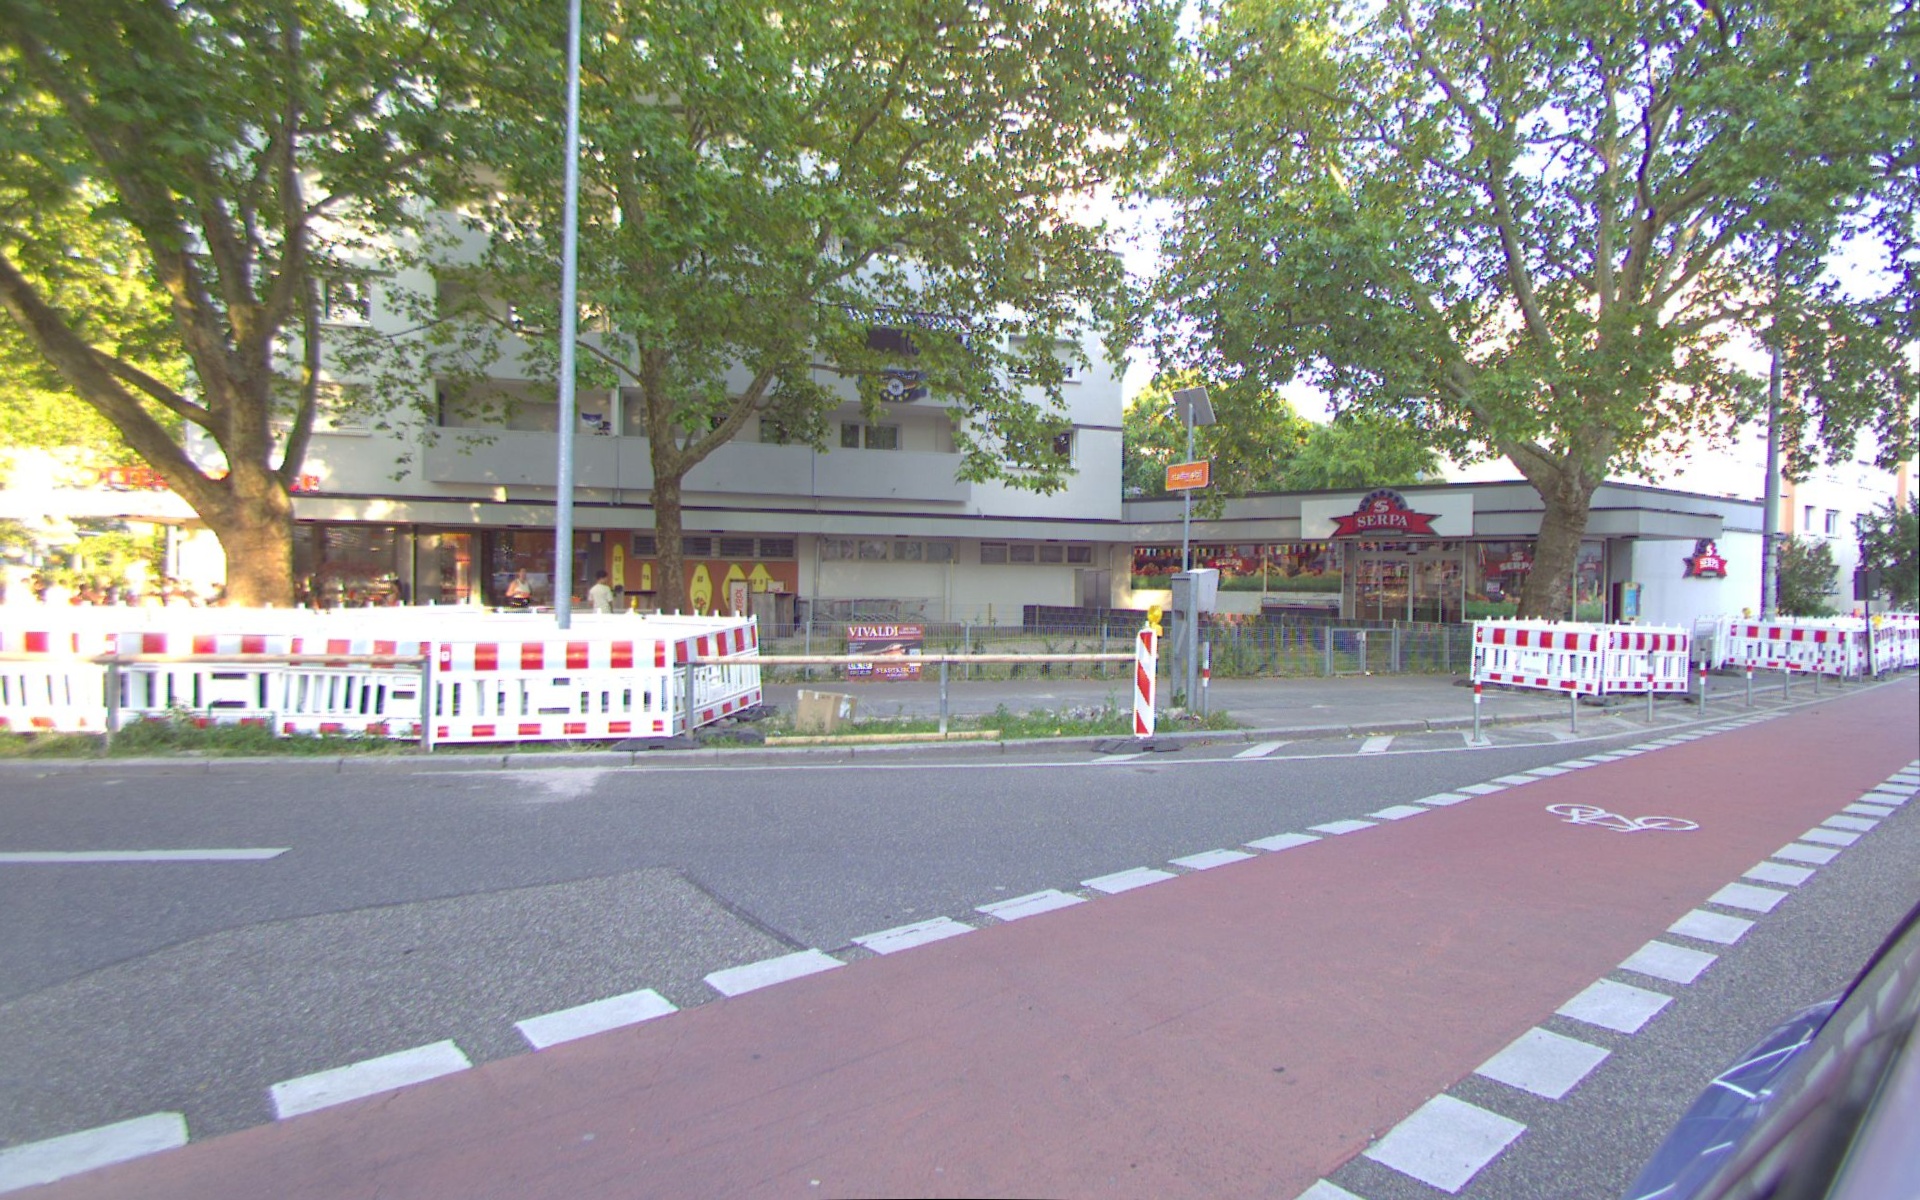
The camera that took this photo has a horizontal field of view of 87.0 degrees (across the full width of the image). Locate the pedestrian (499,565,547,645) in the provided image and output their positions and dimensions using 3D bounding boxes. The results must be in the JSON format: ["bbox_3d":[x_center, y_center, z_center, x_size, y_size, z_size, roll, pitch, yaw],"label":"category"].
[{"bbox_3d":[-9.094,0.095,21.065,0.639,1.608,0.735,0,0,43],"label":"pedestrian"}]

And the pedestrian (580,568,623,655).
[{"bbox_3d":[-6.756,0.206,19.064,0.731,1.608,0.642,-1,0,-22],"label":"pedestrian"}]
